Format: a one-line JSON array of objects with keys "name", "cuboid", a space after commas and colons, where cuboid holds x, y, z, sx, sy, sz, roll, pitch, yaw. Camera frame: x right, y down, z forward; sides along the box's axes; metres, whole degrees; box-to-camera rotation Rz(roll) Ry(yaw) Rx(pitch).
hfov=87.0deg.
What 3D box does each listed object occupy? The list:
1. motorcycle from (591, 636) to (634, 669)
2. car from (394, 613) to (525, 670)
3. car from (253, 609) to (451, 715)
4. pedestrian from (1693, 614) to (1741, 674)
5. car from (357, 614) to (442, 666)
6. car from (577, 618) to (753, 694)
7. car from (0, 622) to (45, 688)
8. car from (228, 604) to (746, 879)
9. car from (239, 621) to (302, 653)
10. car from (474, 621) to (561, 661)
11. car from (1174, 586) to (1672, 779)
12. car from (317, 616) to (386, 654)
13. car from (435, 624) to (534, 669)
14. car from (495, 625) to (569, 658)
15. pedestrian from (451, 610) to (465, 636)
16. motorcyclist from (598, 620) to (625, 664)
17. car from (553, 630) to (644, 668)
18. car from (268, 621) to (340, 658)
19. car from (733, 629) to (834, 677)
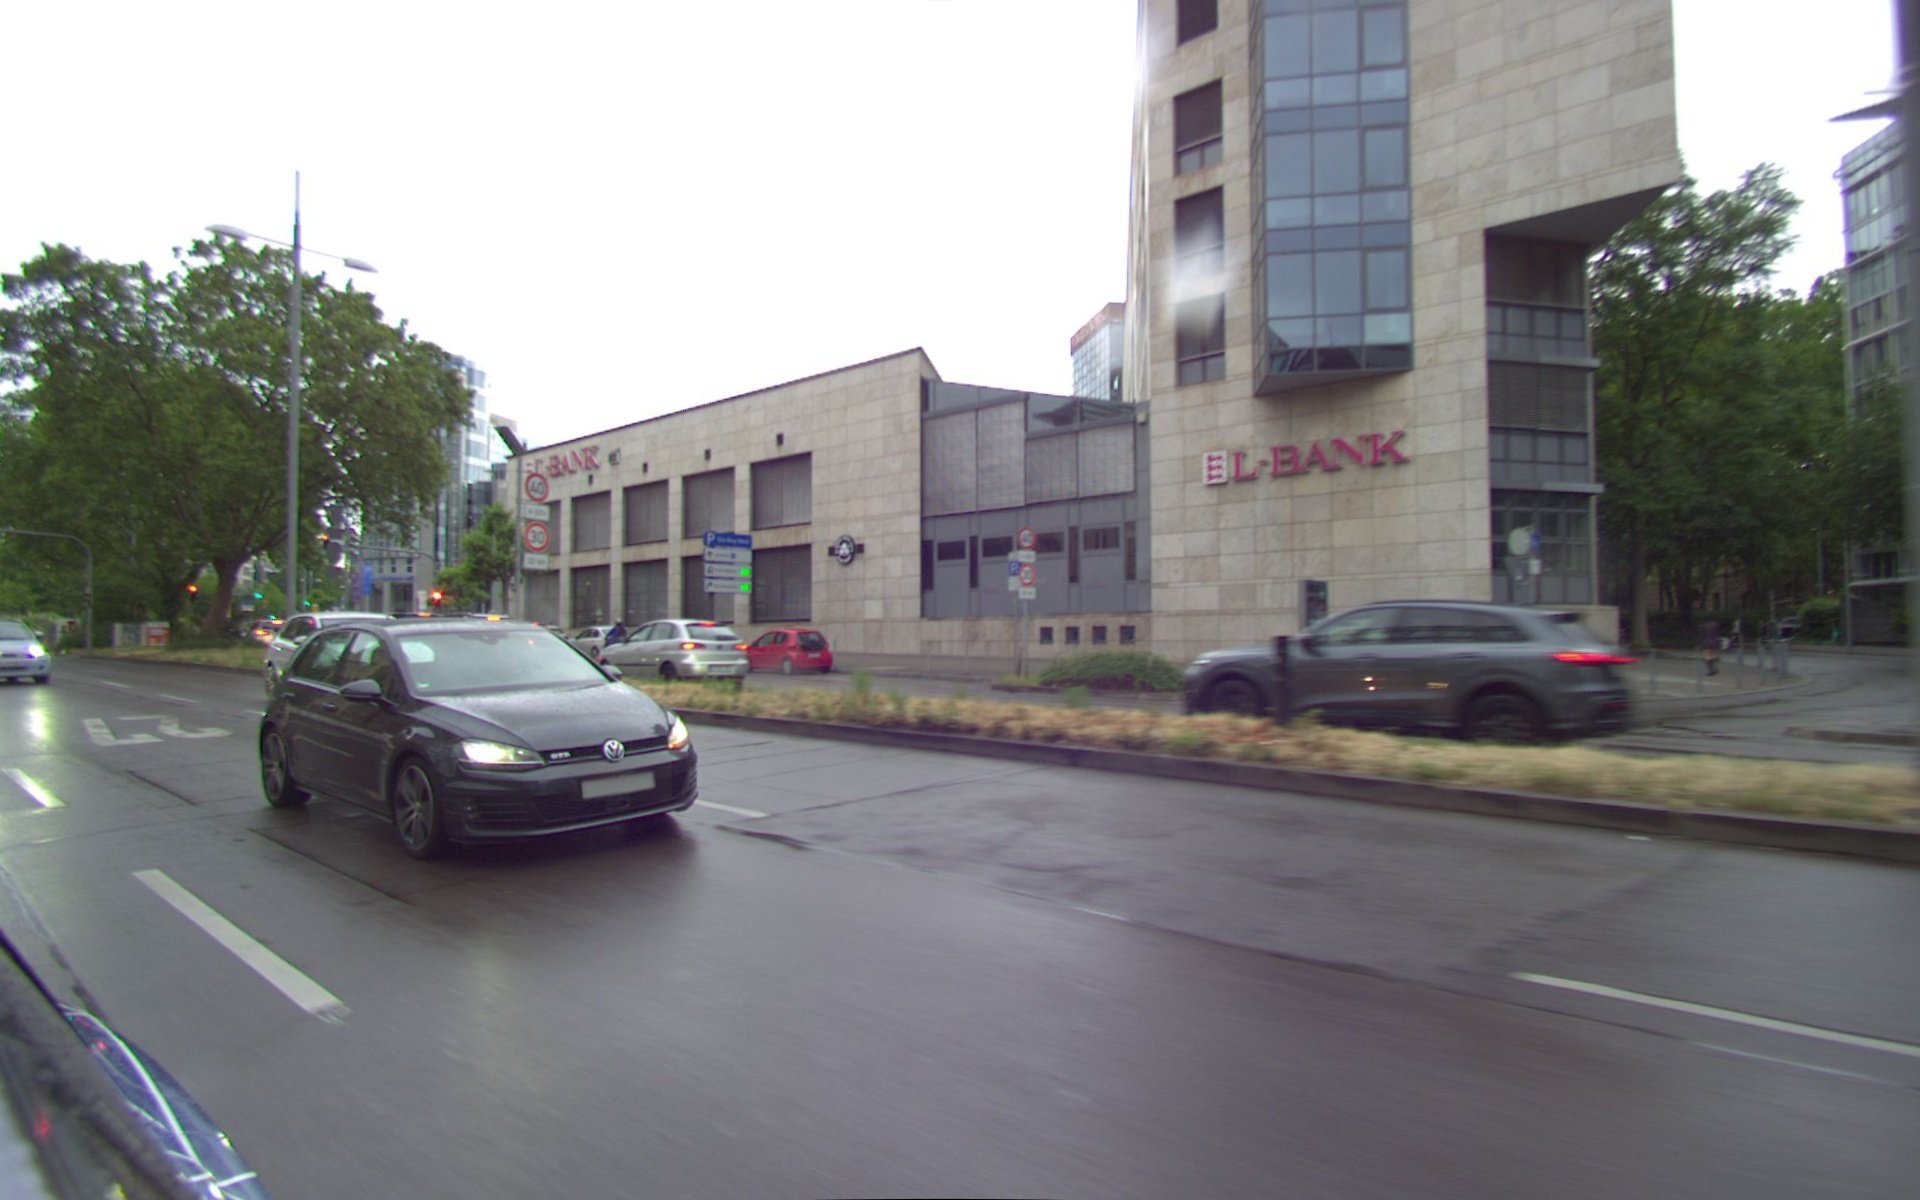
[{"name": "motorcycle", "cuboid": [-12.351, 1.836, 35.917, 2.032, 1.139, 0.543, -2, -3, 42]}, {"name": "car", "cuboid": [-14.083, 1.124, 28.363, 4.581, 1.448, 1.682, 0, -2, 42]}, {"name": "car", "cuboid": [-10.497, 0.975, 17.373, 3.998, 1.608, 1.758, 0, -1, 41]}, {"name": "pedestrian", "cuboid": [20.200, 1.176, 27.023, 0.815, 1.582, 0.664, -2, -2, 19]}, {"name": "car", "cuboid": [-23.543, 1.624, 42.416, 1.809, 2.017, 5.108, 2, -2, -44]}, {"name": "car", "cuboid": [-6.113, 1.085, 20.750, 4.117, 1.370, 1.579, 0, -2, 43]}, {"name": "car", "cuboid": [-22.602, 1.231, 23.348, 3.489, 1.452, 1.592, -1, -3, 38]}, {"name": "car", "cuboid": [-3.591, 0.801, 7.383, 4.117, 1.463, 1.767, -1, -2, 38]}, {"name": "car", "cuboid": [-31.851, 1.672, 46.683, 1.727, 1.375, 4.134, 2, -2, -44]}, {"name": "car", "cuboid": [-18.568, 1.681, 42.334, 4.641, 1.544, 1.707, 0, -2, 44]}, {"name": "car", "cuboid": [4.896, 0.753, 11.141, 4.678, 1.693, 1.854, 0, -2, 41]}, {"name": "car", "cuboid": [-28.869, 1.635, 47.952, 4.093, 1.652, 1.810, 0, -2, 44]}, {"name": "car", "cuboid": [-16.740, 1.586, 35.513, 4.397, 1.443, 1.707, 0, -2, 44]}, {"name": "car", "cuboid": [-19.895, 1.901, 46.967, 1.727, 1.426, 4.297, 2, -2, -44]}, {"name": "pedestrian", "cuboid": [-38.270, 1.754, 77.121, 1.125, 1.939, 0.582, -1, -1, 41]}, {"name": "motorcyclist", "cuboid": [-12.379, 1.501, 35.955, 0.973, 1.541, 0.514, -2, -3, 43]}, {"name": "car", "cuboid": [-15.066, 1.983, 42.037, 1.727, 1.426, 4.708, 2, -2, -44]}, {"name": "car", "cuboid": [-26.740, 1.573, 41.199, 1.727, 1.375, 3.947, 2, -2, -44]}, {"name": "car", "cuboid": [-5.783, 1.698, 32.908, 1.574, 1.426, 3.403, 2, -2, -44]}]
